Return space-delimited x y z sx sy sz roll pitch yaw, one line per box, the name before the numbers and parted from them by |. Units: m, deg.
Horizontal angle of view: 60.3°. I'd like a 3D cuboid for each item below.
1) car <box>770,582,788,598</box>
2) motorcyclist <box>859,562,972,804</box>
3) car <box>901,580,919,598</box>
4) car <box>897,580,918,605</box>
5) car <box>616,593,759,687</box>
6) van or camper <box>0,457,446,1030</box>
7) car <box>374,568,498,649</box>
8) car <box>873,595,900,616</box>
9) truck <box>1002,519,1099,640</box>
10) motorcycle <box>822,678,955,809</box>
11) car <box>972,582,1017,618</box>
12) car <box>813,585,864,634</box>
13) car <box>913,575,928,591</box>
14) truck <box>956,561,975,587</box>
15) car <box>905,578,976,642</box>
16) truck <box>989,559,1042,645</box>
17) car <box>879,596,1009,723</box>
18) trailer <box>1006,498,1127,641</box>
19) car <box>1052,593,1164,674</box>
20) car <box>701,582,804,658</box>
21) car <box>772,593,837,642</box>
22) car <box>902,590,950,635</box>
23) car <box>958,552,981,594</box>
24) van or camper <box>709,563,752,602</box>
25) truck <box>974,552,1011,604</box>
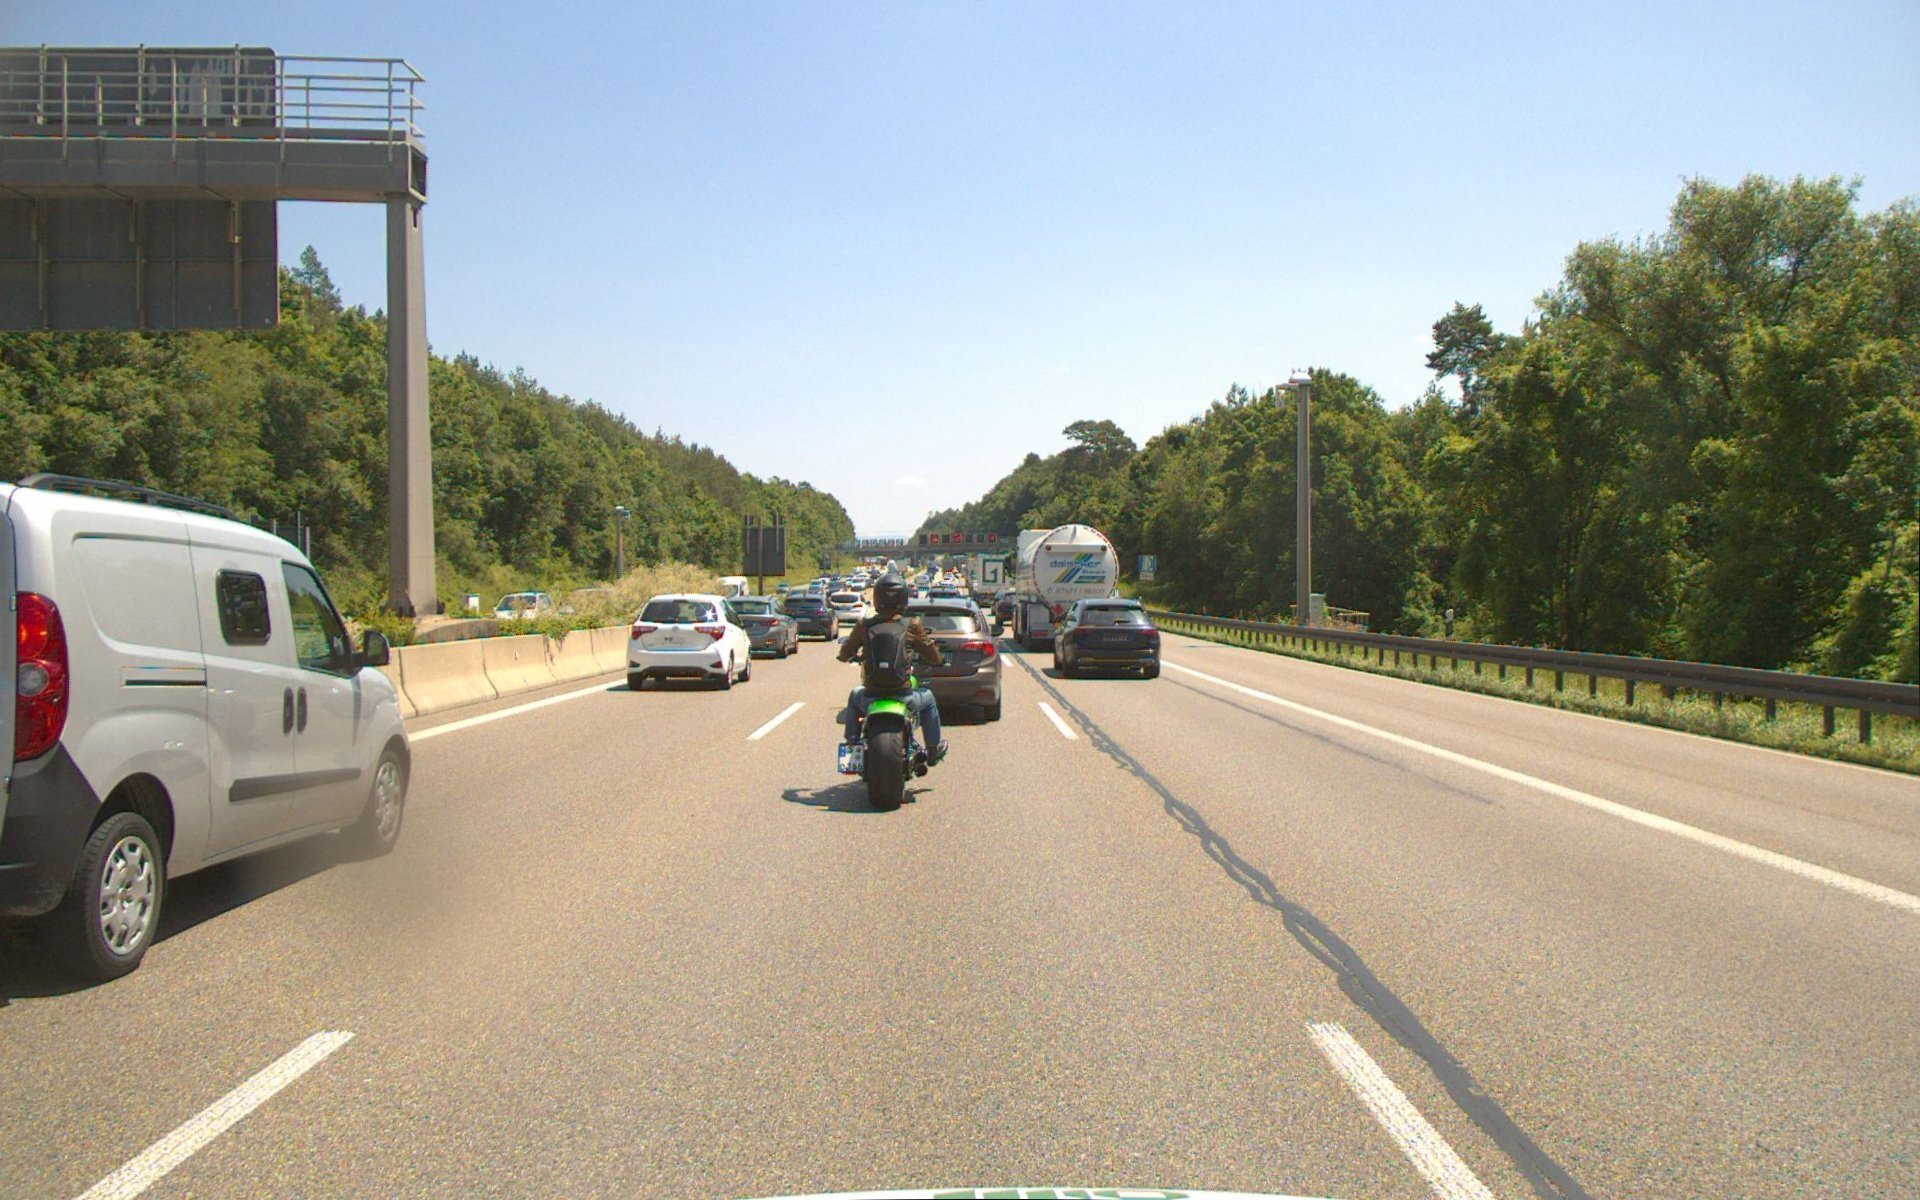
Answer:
car | -24.041 -1.332 219.657 1.953 2.049 3.999 1 0 -2
motorcyclist | -0.321 0.600 12.314 0.782 1.717 1.016 1 -1 -1
car | -4.775 -1.037 159.540 1.626 1.627 4.000 0 -1 0
car | -4.370 -0.646 138.968 1.626 2.013 4.000 0 -1 0
car | -4.470 0.633 27.695 1.739 1.435 3.999 1 0 0
van or camper | -4.033 0.460 7.791 1.815 1.913 4.561 1 0 -1
car | -13.982 0.218 44.406 1.953 2.049 4.271 0 0 0
car | -5.169 0.376 116.976 1.728 1.467 4.000 1 0 0
truck | 2.916 -0.570 54.780 2.770 3.735 6.428 1 -1 0
motorcycle | -0.504 1.052 12.622 0.917 0.807 2.298 1 -1 0
car | 1.574 0.042 76.282 1.741 1.554 3.996 1 -1 -4
car | -5.187 0.442 71.132 1.953 2.049 3.999 1 -1 -1
car | -5.119 -2.216 215.308 1.953 2.049 3.999 0 -1 -1
truck | 0.824 -3.753 240.142 2.641 3.465 10.476 0 -1 0
car | -0.578 0.320 47.901 1.953 1.741 3.998 1 -1 -1
truck | 3.059 0.089 93.412 2.340 4.542 10.866 0 0 -1
car | -0.202 0.707 21.370 1.509 1.476 3.999 1 0 0
trailer | 2.957 -0.695 48.988 2.770 3.735 10.730 1 -1 0
car | 2.854 0.666 32.757 1.755 1.484 4.623 1 -1 0
car | -4.949 0.497 40.005 1.953 1.713 4.329 1 -1 0
car | -4.917 0.583 52.723 1.954 1.490 3.996 1 -1 -4
car | -1.419 0.533 69.086 1.953 1.806 3.998 1 -1 -1
car | 0.937 -2.727 169.780 2.123 3.961 9.328 1 -1 0
van or camper | -15.846 -1.190 114.349 2.108 2.465 6.195 1 -1 -1
truck | 2.609 -1.706 131.150 2.794 3.888 7.189 1 -1 2
